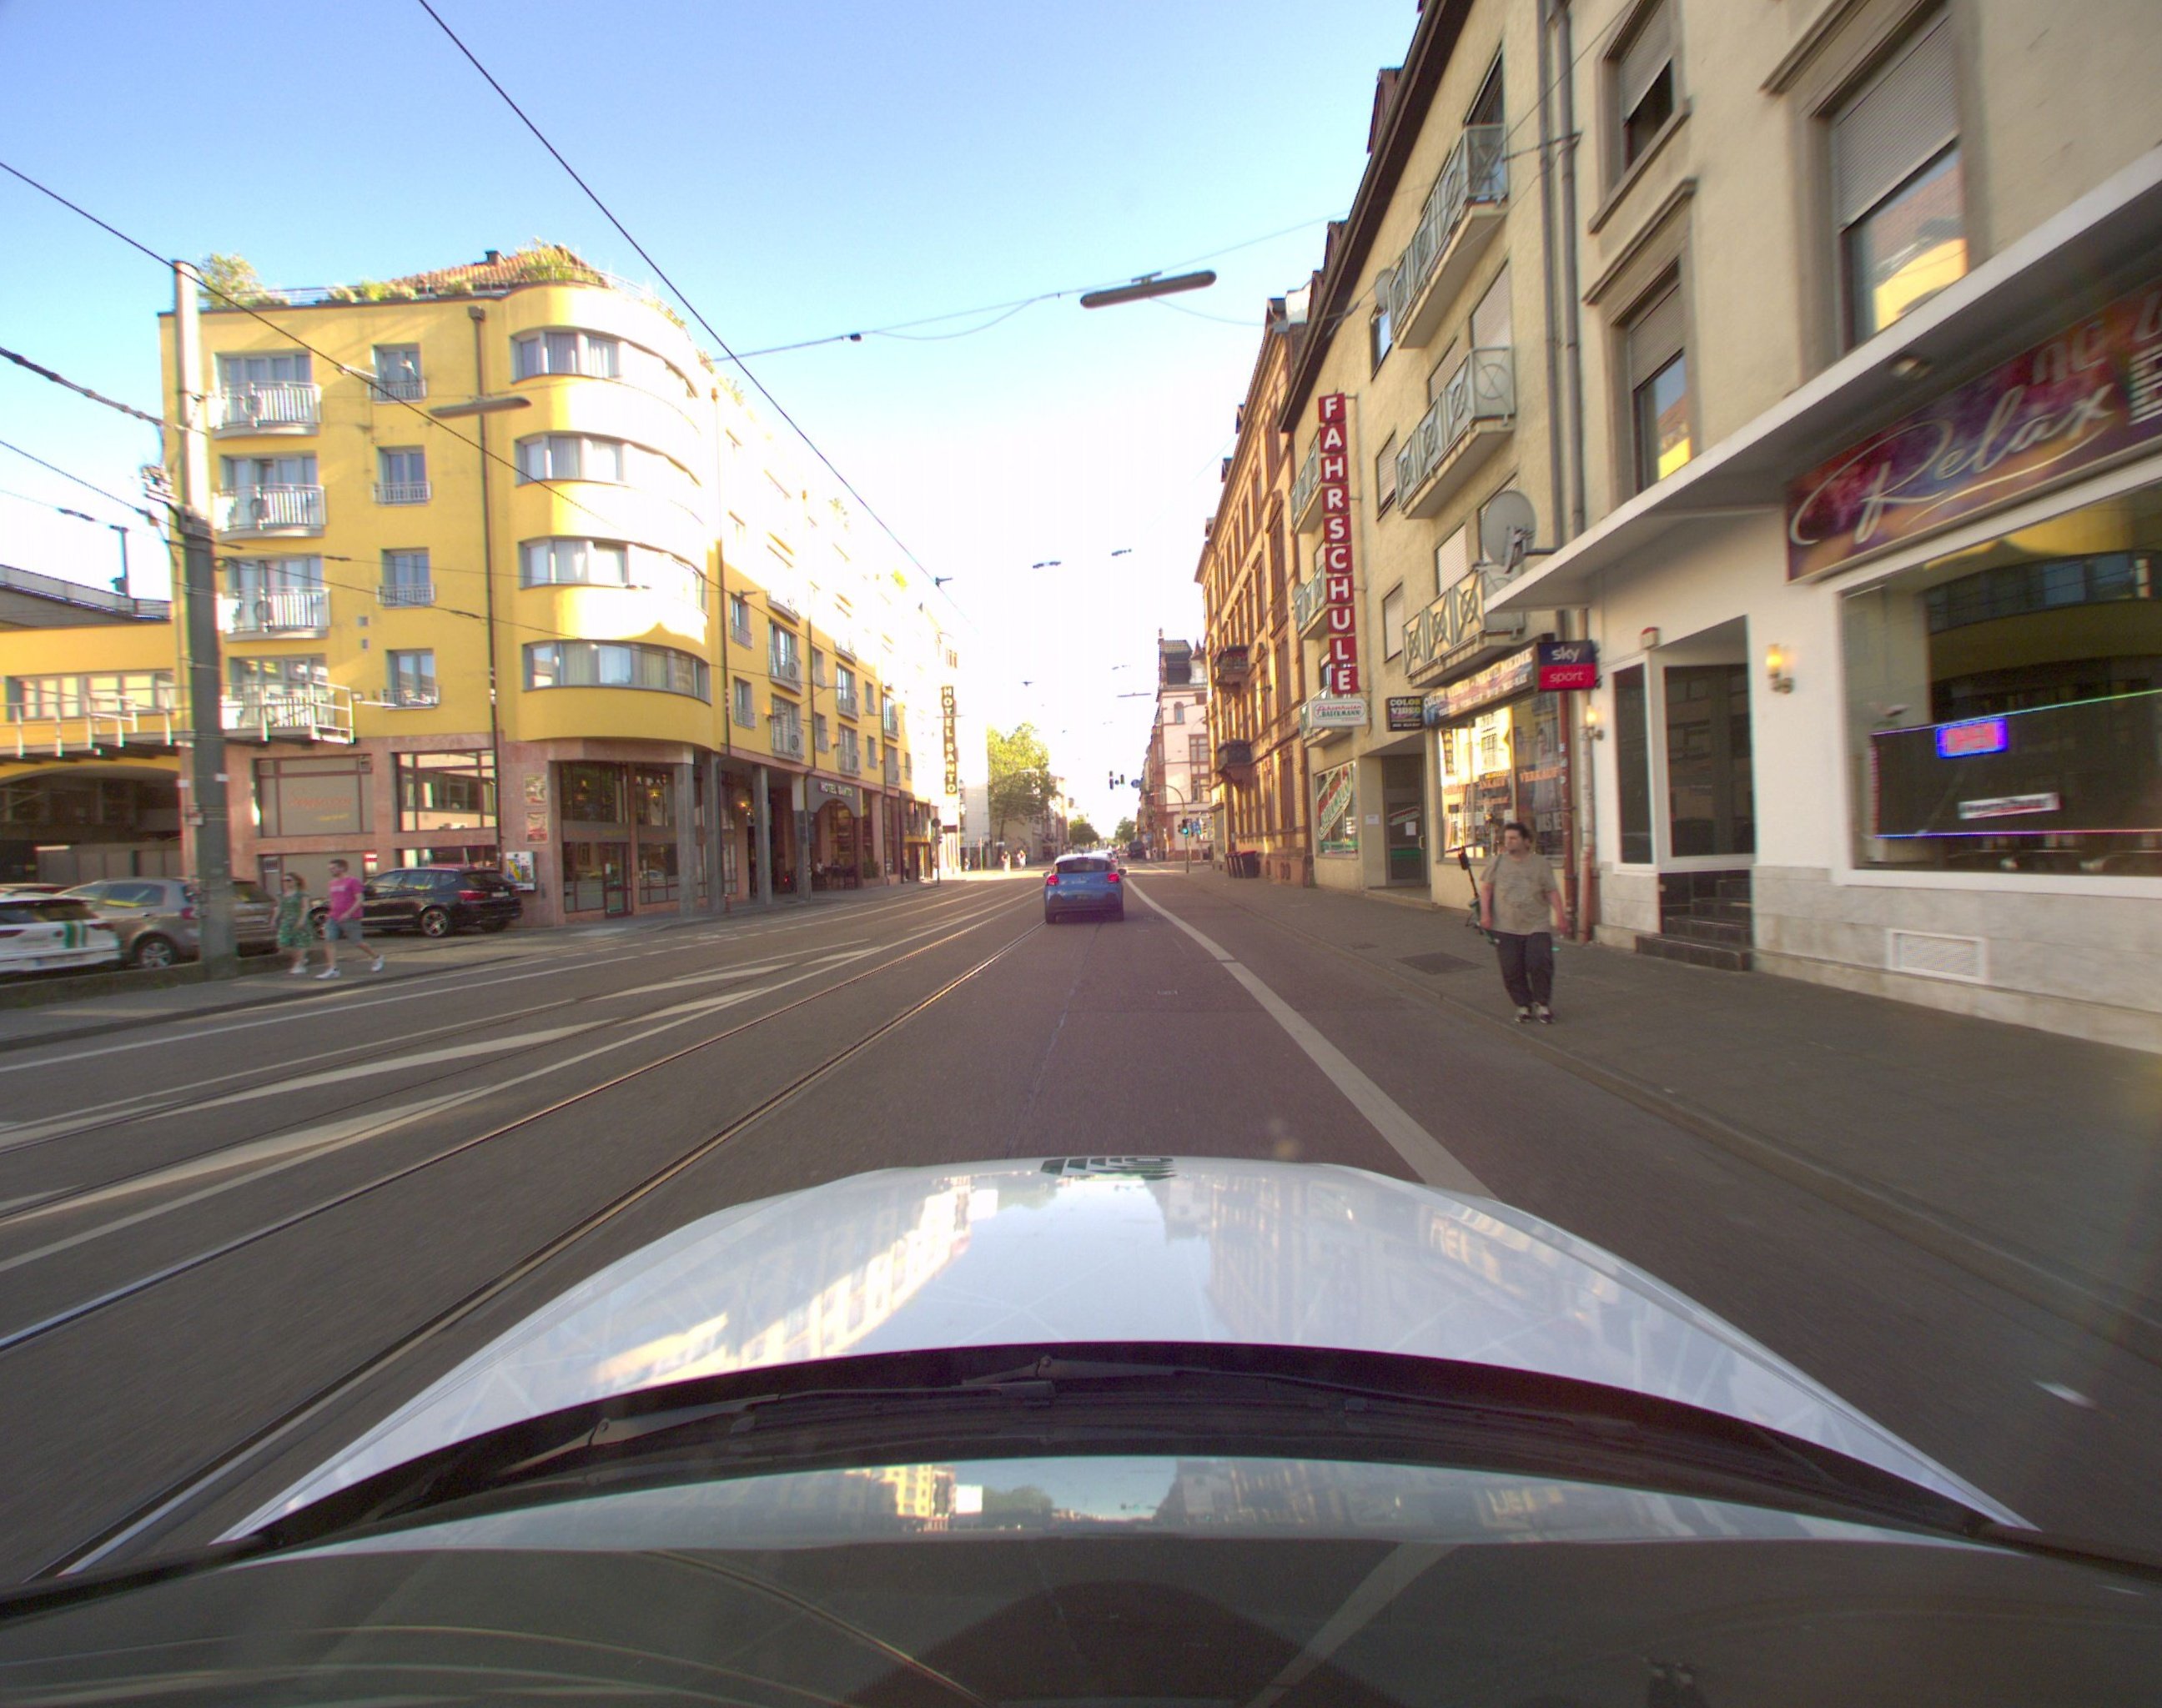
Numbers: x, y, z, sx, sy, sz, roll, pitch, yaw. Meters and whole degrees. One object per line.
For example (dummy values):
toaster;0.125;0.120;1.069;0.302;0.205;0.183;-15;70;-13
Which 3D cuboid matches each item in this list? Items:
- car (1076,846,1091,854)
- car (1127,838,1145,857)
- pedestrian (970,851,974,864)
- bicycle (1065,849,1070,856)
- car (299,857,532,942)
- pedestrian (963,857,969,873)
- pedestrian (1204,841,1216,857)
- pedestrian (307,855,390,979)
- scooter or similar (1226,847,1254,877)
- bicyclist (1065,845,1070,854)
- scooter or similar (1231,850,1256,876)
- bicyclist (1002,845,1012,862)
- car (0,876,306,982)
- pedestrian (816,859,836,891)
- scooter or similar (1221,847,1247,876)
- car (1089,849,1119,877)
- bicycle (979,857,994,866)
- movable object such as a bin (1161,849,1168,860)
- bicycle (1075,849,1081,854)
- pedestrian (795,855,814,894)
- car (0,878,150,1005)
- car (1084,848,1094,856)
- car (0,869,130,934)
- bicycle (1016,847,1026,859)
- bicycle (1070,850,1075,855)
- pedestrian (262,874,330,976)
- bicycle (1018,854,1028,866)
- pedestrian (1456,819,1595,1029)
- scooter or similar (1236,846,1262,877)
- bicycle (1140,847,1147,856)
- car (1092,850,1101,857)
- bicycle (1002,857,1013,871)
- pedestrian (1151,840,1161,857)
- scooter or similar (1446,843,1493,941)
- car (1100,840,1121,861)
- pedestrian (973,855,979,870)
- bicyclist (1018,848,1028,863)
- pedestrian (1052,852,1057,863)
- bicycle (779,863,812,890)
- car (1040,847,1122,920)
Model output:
car;0.724;-1.245;256.285;4.328;2.580;2.192;-2;0;-24
car;7.797;-0.939;115.172;2.262;2.436;5.723;-2;1;2
pedestrian;-15.248;0.519;114.206;0.454;1.718;0.547;-3;0;1
bicycle;-2.214;-0.304;135.551;0.690;1.120;2.084;-2;1;2
car;-16.200;1.080;19.970;4.217;1.812;1.786;-2;0;2
pedestrian;-10.356;1.004;73.441;0.402;1.410;0.516;-2;0;1
pedestrian;11.788;-0.448;74.567;0.931;1.456;0.826;-2;0;14
pedestrian;-11.960;1.008;13.323;0.635;1.946;0.709;-2;0;1
scooter or similar;6.642;0.317;34.053;0.930;1.148;0.650;-7;0;0
bicyclist;-2.222;-0.799;135.290;0.680;1.483;0.779;-3;0;1
scooter or similar;6.639;0.379;33.285;0.788;0.957;0.680;-7;0;0
bicyclist;-6.155;-0.073;67.801;0.721;1.381;1.228;-2;1;1
car;-16.464;1.272;14.185;4.217;1.548;1.786;-3;-2;2
pedestrian;-12.497;1.015;39.913;0.702;1.547;0.602;-2;0;7
scooter or similar;6.595;0.311;35.076;0.894;1.148;0.547;-7;0;0
car;1.383;0.513;48.527;1.661;1.478;4.001;-3;1;1
bicycle;-12.477;1.016;107.994;1.898;1.034;0.669;-2;0;28
movable object such as a bin;9.121;0.058;89.054;0.663;1.153;0.595;-2;0;2
bicycle;-0.781;-0.617;207.158;1.118;1.146;3.640;-3;1;-3
pedestrian;-12.984;0.954;38.254;0.558;1.770;0.724;-2;0;7
car;-16.330;1.258;11.550;4.217;1.609;1.786;-2;0;2
car;1.591;-0.436;160.323;1.978;1.502;4.310;-2;0;1
car;-27.234;1.229;20.897;3.566;1.479;1.696;-2;1;0
bicycle;-5.889;-0.093;79.653;0.728;1.183;2.062;-2;0;1
bicycle;-2.145;-0.444;207.309;1.118;1.319;3.640;-3;1;-3
pedestrian;-13.059;1.167;13.566;0.570;1.617;0.499;-2;0;1
bicycle;-5.473;0.599;77.209;0.728;1.065;2.062;-2;0;1
pedestrian;3.531;0.524;6.535;0.646;1.560;0.781;-2;0;1
scooter or similar;6.673;0.283;32.370;0.788;1.148;0.790;-6;0;1
bicycle;7.275;-0.295;94.831;0.430;0.947;1.760;-2;0;-5
car;3.867;-0.096;199.749;1.986;1.744;4.564;-2;1;1
bicycle;-6.137;0.824;68.126;0.728;1.088;2.062;-2;0;1
pedestrian;8.559;-0.594;92.782;0.703;1.780;0.673;-15;0;1
scooter or similar;5.423;0.501;11.416;0.407;1.281;1.290;-2;0;19
car;2.990;-0.384;82.319;1.986;2.013;4.001;-3;1;1
pedestrian;-11.131;0.931;86.554;0.540;1.552;0.516;-2;0;1
bicyclist;-5.493;0.092;77.191;0.733;1.381;1.469;-2;0;1
pedestrian;-4.366;0.597;132.293;0.708;1.764;0.570;-3;0;1
bicycle;-13.553;1.065;38.756;0.578;1.203;2.085;-2;0;7
car;0.072;0.614;18.864;1.667;1.477;4.002;-2;0;2
